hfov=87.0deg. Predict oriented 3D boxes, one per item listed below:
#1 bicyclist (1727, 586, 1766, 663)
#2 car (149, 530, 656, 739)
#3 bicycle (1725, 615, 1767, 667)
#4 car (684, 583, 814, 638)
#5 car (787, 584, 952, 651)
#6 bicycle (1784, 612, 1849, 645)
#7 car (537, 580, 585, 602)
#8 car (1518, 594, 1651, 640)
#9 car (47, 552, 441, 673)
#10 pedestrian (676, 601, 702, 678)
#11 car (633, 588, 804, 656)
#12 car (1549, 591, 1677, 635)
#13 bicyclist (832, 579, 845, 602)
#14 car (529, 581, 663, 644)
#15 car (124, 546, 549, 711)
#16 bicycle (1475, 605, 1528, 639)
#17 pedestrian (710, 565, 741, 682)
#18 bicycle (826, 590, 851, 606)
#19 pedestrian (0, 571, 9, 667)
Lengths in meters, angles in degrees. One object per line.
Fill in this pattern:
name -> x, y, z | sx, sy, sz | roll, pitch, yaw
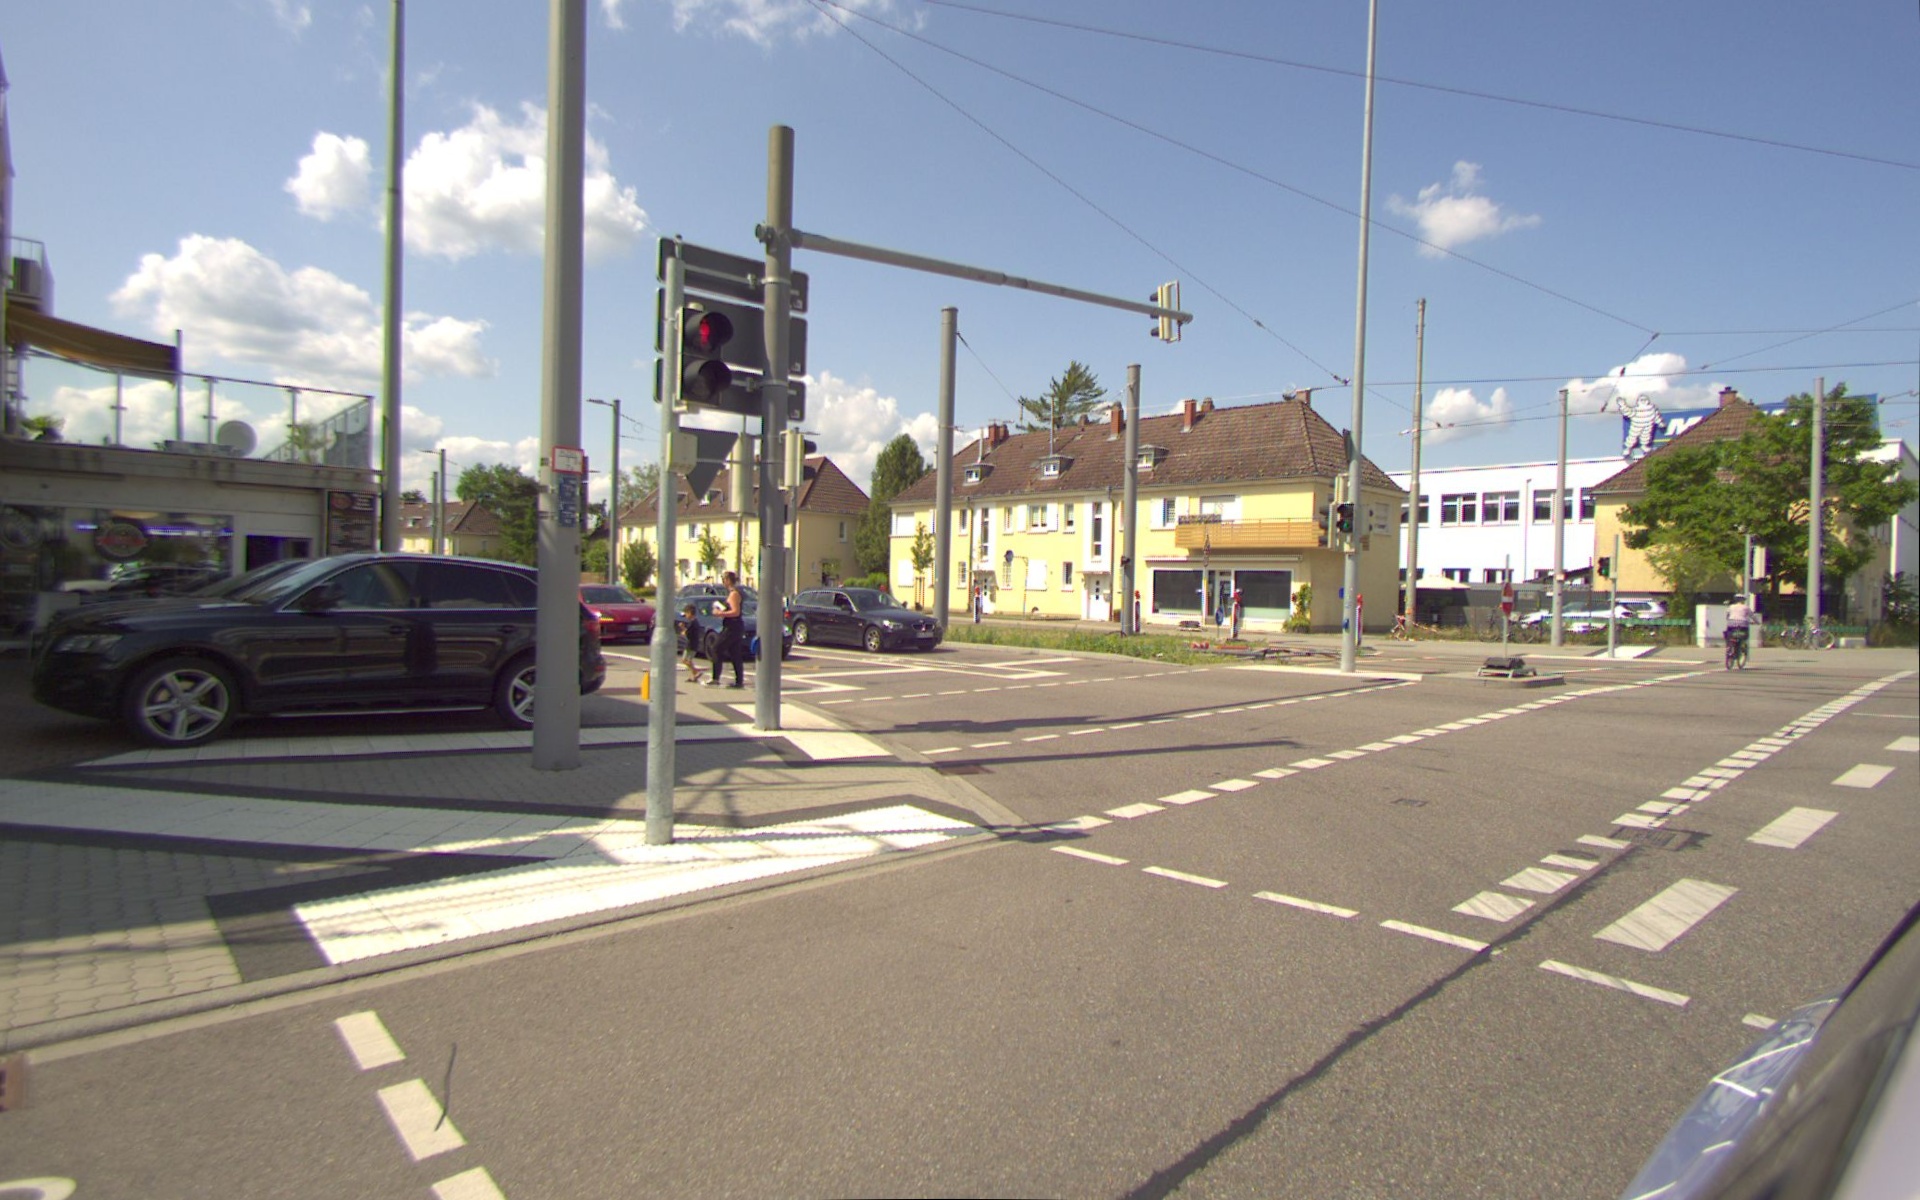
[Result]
bicyclist -> 18.490, 0.563, 23.788 | 0.650, 1.759, 0.969 | -1, 0, 43
car -> -5.327, 0.253, 9.911 | 4.058, 1.616, 1.997 | 0, 0, -40
bicycle -> 18.496, 0.942, 23.794 | 0.650, 1.132, 1.563 | -1, 0, 43
car -> -6.187, 0.243, 29.349 | 1.710, 1.345, 4.321 | 0, 3, -43
car -> -2.271, 0.362, 24.487 | 1.710, 1.345, 4.321 | 0, 3, -43
bicycle -> 27.899, 0.917, 32.962 | 1.722, 1.031, 0.463 | 0, 0, 0
car -> -29.537, -0.702, 74.936 | 4.004, 1.421, 1.708 | 2, -2, 44
car -> 24.124, 0.623, 39.152 | 4.106, 1.617, 1.772 | 1, 0, 44
car -> -9.330, 0.125, 13.434 | 4.058, 1.368, 1.871 | -1, 0, -40
pedestrian -> -4.137, 0.594, 15.459 | 0.380, 1.150, 0.490 | 0, 0, -14
car -> -5.300, 0.423, 21.875 | 1.710, 1.325, 4.320 | 0, 0, -43
car -> 26.265, 0.490, 40.785 | 4.106, 1.617, 1.772 | 1, 0, 44
bicyclist -> -6.700, -0.532, 55.810 | 0.501, 1.249, 0.577 | 0, 1, -45
car -> -9.445, 0.282, 26.074 | 1.710, 1.492, 4.320 | 0, 0, -43
car -> -7.266, 0.261, 11.977 | 4.058, 1.616, 1.997 | 0, 0, -40
bicycle -> 18.405, 0.750, 34.419 | 1.556, 1.152, 0.378 | 0, 0, 23
pedestrian -> -3.416, 0.333, 14.762 | 0.393, 1.664, 0.549 | 0, 0, -8
bicycle -> -6.686, -0.112, 55.784 | 0.497, 0.791, 1.580 | 0, 2, -44
pedestrian -> -11.903, 0.228, 11.832 | 1.079, 1.114, 0.969 | 0, 0, -40
